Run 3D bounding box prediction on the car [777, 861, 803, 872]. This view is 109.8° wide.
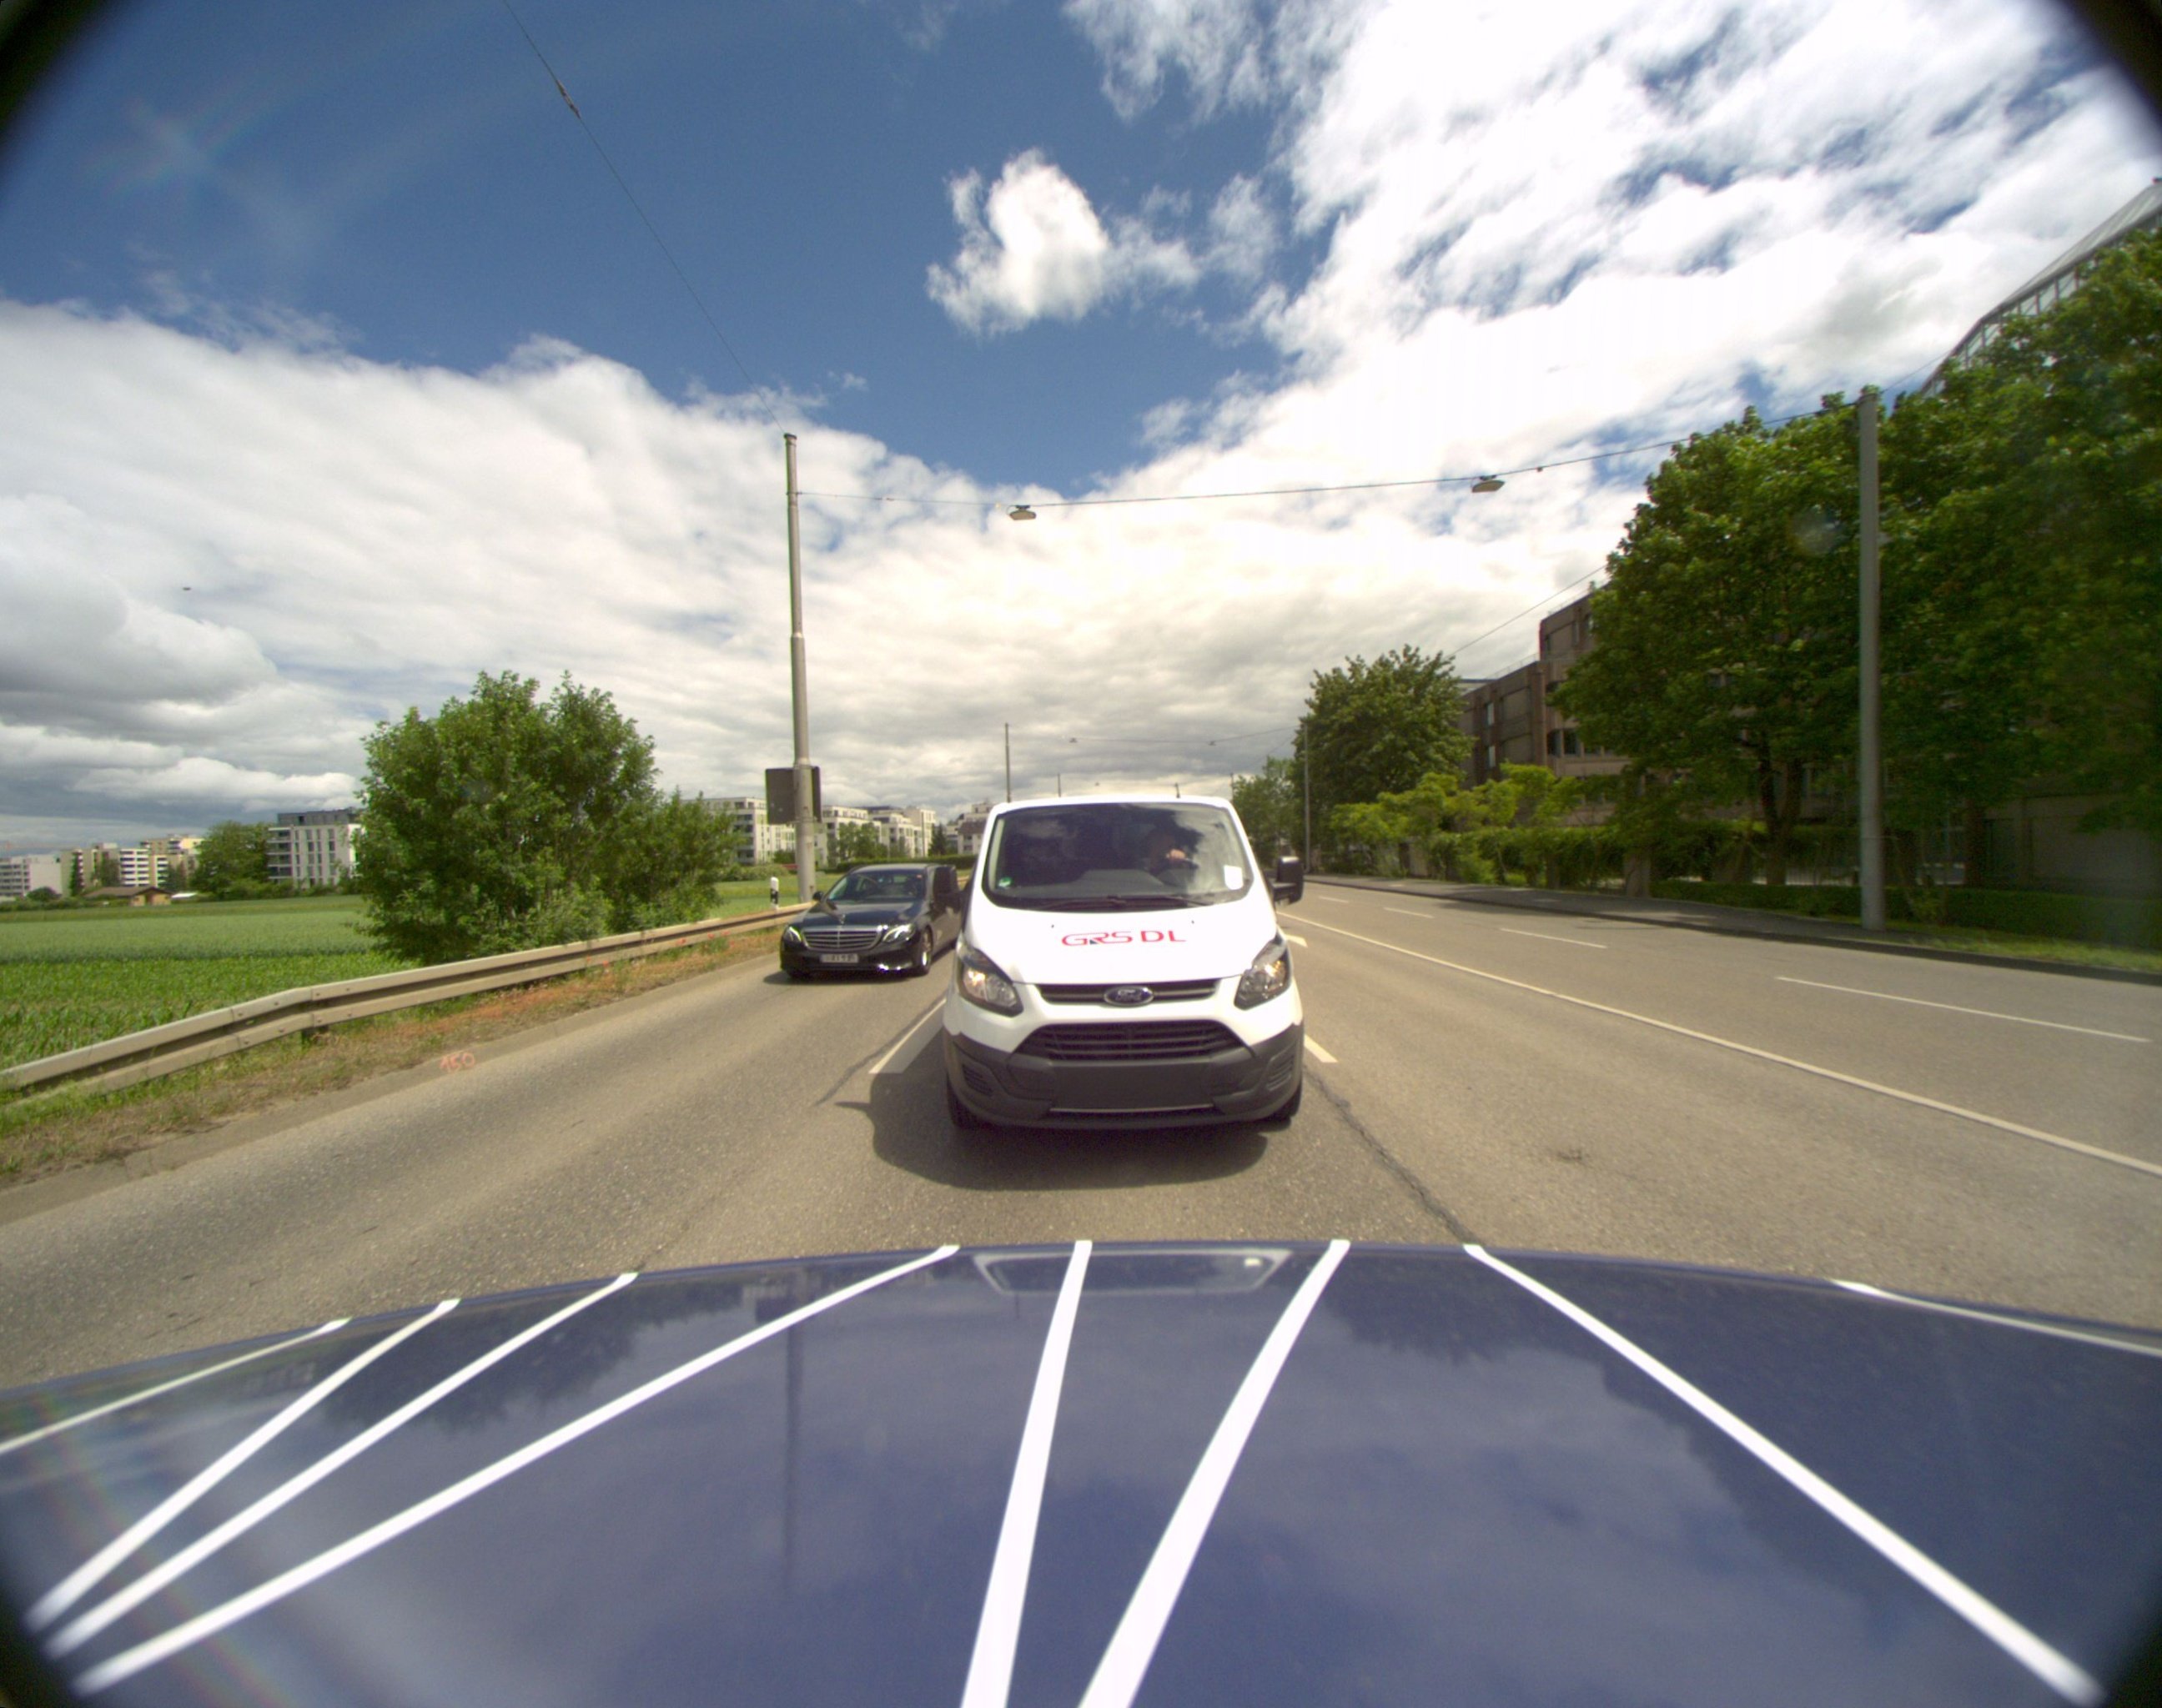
[{"bbox_3d":[-59.600,2.508,155.561,4.436,2.002,2.000,-1,1,2],"label":"car"}]

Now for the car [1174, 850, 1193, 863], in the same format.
[{"bbox_3d":[13.071,0.312,97.138,1.872,1.605,4.572,-1,1,3],"label":"car"}]

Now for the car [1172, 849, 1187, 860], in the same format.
[{"bbox_3d":[15.903,0.054,122.968,1.801,1.576,4.313,-2,1,1],"label":"car"}]

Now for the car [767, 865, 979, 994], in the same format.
[{"bbox_3d":[-2.855,0.983,11.656,1.842,1.528,4.807,-1,-2,1],"label":"car"}]

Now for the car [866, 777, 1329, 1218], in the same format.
[{"bbox_3d":[0.268,0.672,6.284,1.998,1.906,5.884,-1,-1,4],"label":"car"}]
